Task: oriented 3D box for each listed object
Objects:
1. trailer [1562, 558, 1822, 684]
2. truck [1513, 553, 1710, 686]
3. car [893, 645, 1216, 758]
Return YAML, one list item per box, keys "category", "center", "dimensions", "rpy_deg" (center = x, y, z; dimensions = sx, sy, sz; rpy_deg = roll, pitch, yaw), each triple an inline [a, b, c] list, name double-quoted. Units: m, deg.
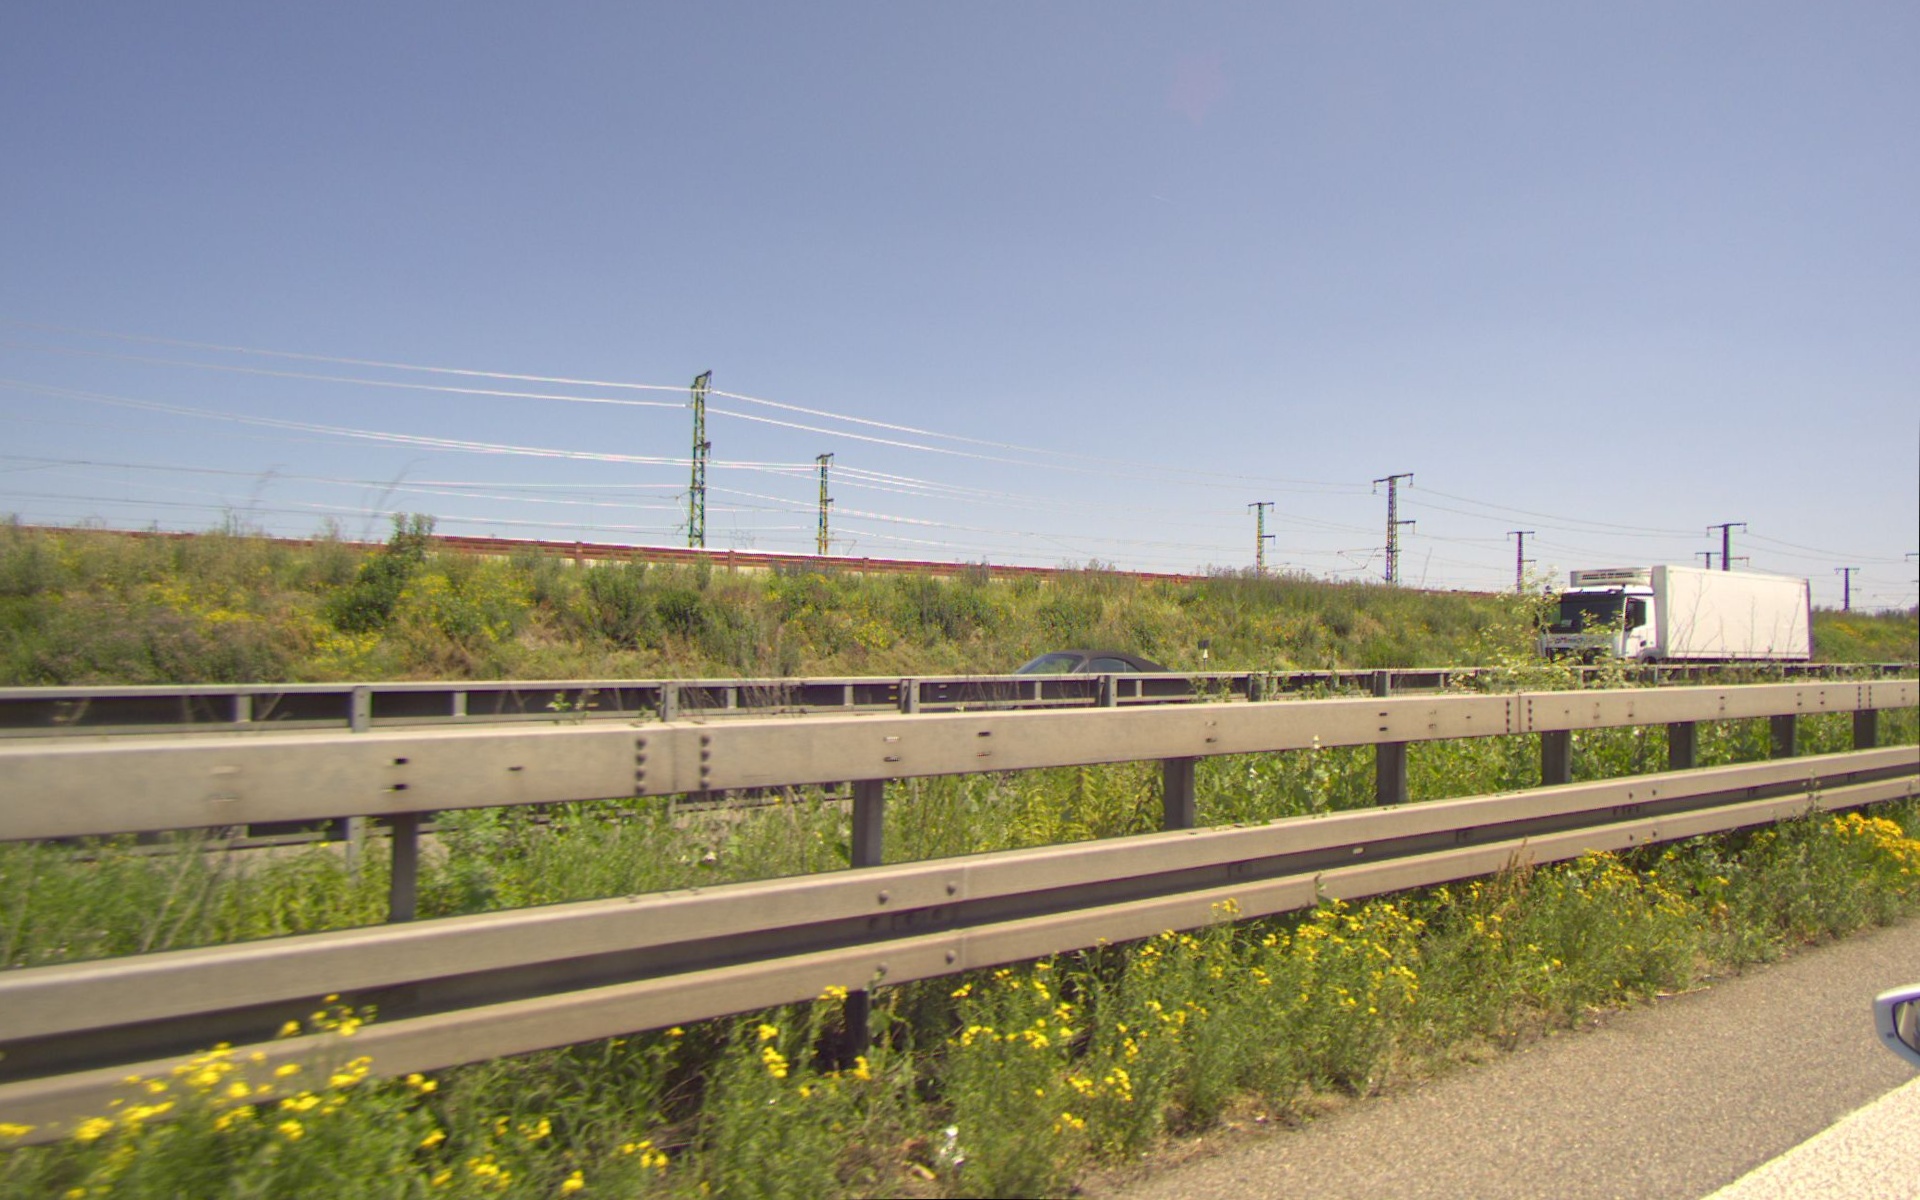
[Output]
- category: "trailer"
  center: [22.612, 0.670, 30.829]
  dimensions: [9.469, 3.433, 2.774]
  rpy_deg: [2, 0, -30]
- category: "truck"
  center: [18.403, 0.537, 28.380]
  dimensions: [4.657, 3.433, 2.774]
  rpy_deg: [2, 1, -30]
- category: "car"
  center: [1.353, 1.313, 14.012]
  dimensions: [4.155, 1.323, 1.984]
  rpy_deg: [2, -2, -31]
